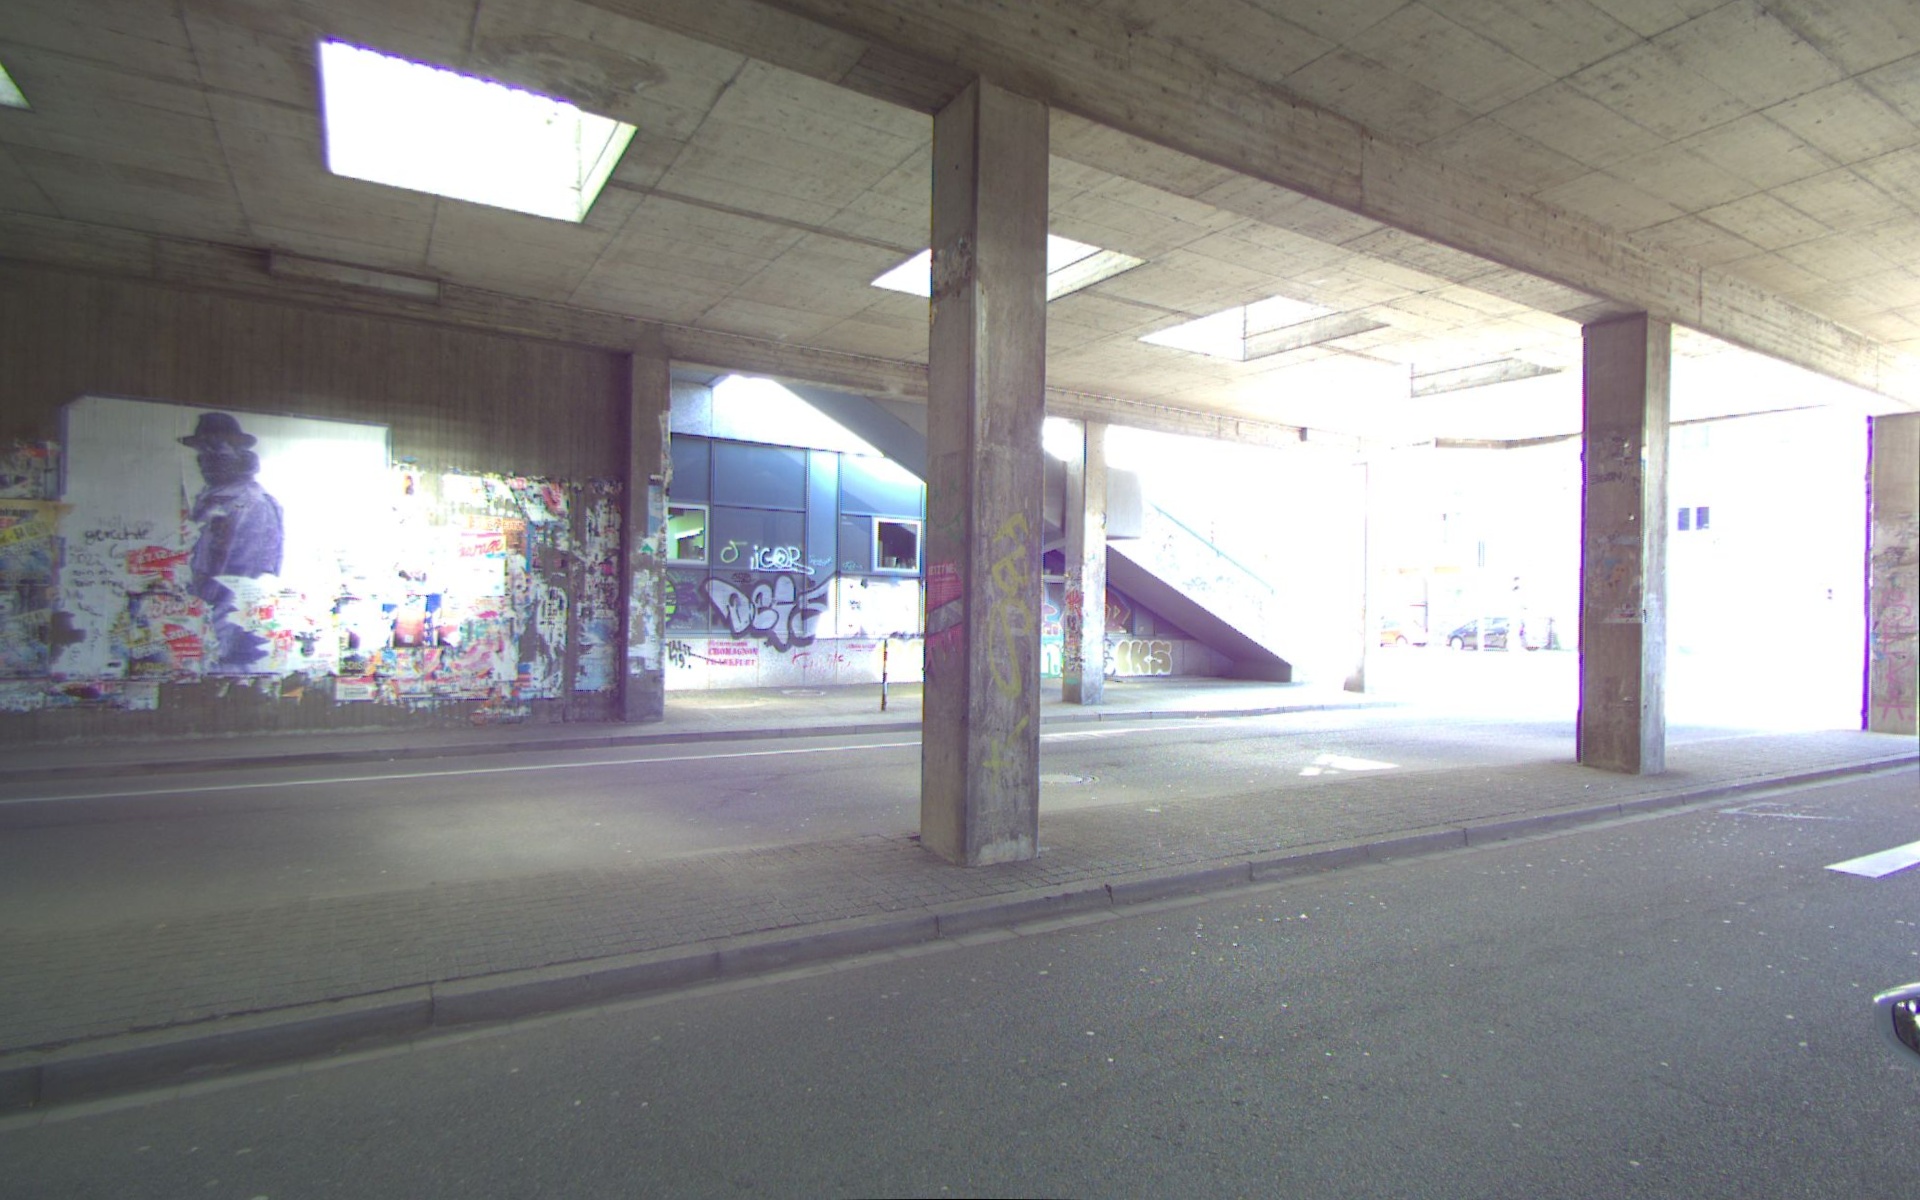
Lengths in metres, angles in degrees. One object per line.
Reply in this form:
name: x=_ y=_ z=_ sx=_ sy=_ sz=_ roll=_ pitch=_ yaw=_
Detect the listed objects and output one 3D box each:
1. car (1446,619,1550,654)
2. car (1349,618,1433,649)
car: x=25.445 y=1.715 z=47.642 sx=1.718 sy=1.495 sz=4.089 roll=2 pitch=-1 yaw=-31
car: x=22.533 y=1.733 z=52.597 sx=1.730 sy=1.495 sz=3.741 roll=2 pitch=-1 yaw=-31
